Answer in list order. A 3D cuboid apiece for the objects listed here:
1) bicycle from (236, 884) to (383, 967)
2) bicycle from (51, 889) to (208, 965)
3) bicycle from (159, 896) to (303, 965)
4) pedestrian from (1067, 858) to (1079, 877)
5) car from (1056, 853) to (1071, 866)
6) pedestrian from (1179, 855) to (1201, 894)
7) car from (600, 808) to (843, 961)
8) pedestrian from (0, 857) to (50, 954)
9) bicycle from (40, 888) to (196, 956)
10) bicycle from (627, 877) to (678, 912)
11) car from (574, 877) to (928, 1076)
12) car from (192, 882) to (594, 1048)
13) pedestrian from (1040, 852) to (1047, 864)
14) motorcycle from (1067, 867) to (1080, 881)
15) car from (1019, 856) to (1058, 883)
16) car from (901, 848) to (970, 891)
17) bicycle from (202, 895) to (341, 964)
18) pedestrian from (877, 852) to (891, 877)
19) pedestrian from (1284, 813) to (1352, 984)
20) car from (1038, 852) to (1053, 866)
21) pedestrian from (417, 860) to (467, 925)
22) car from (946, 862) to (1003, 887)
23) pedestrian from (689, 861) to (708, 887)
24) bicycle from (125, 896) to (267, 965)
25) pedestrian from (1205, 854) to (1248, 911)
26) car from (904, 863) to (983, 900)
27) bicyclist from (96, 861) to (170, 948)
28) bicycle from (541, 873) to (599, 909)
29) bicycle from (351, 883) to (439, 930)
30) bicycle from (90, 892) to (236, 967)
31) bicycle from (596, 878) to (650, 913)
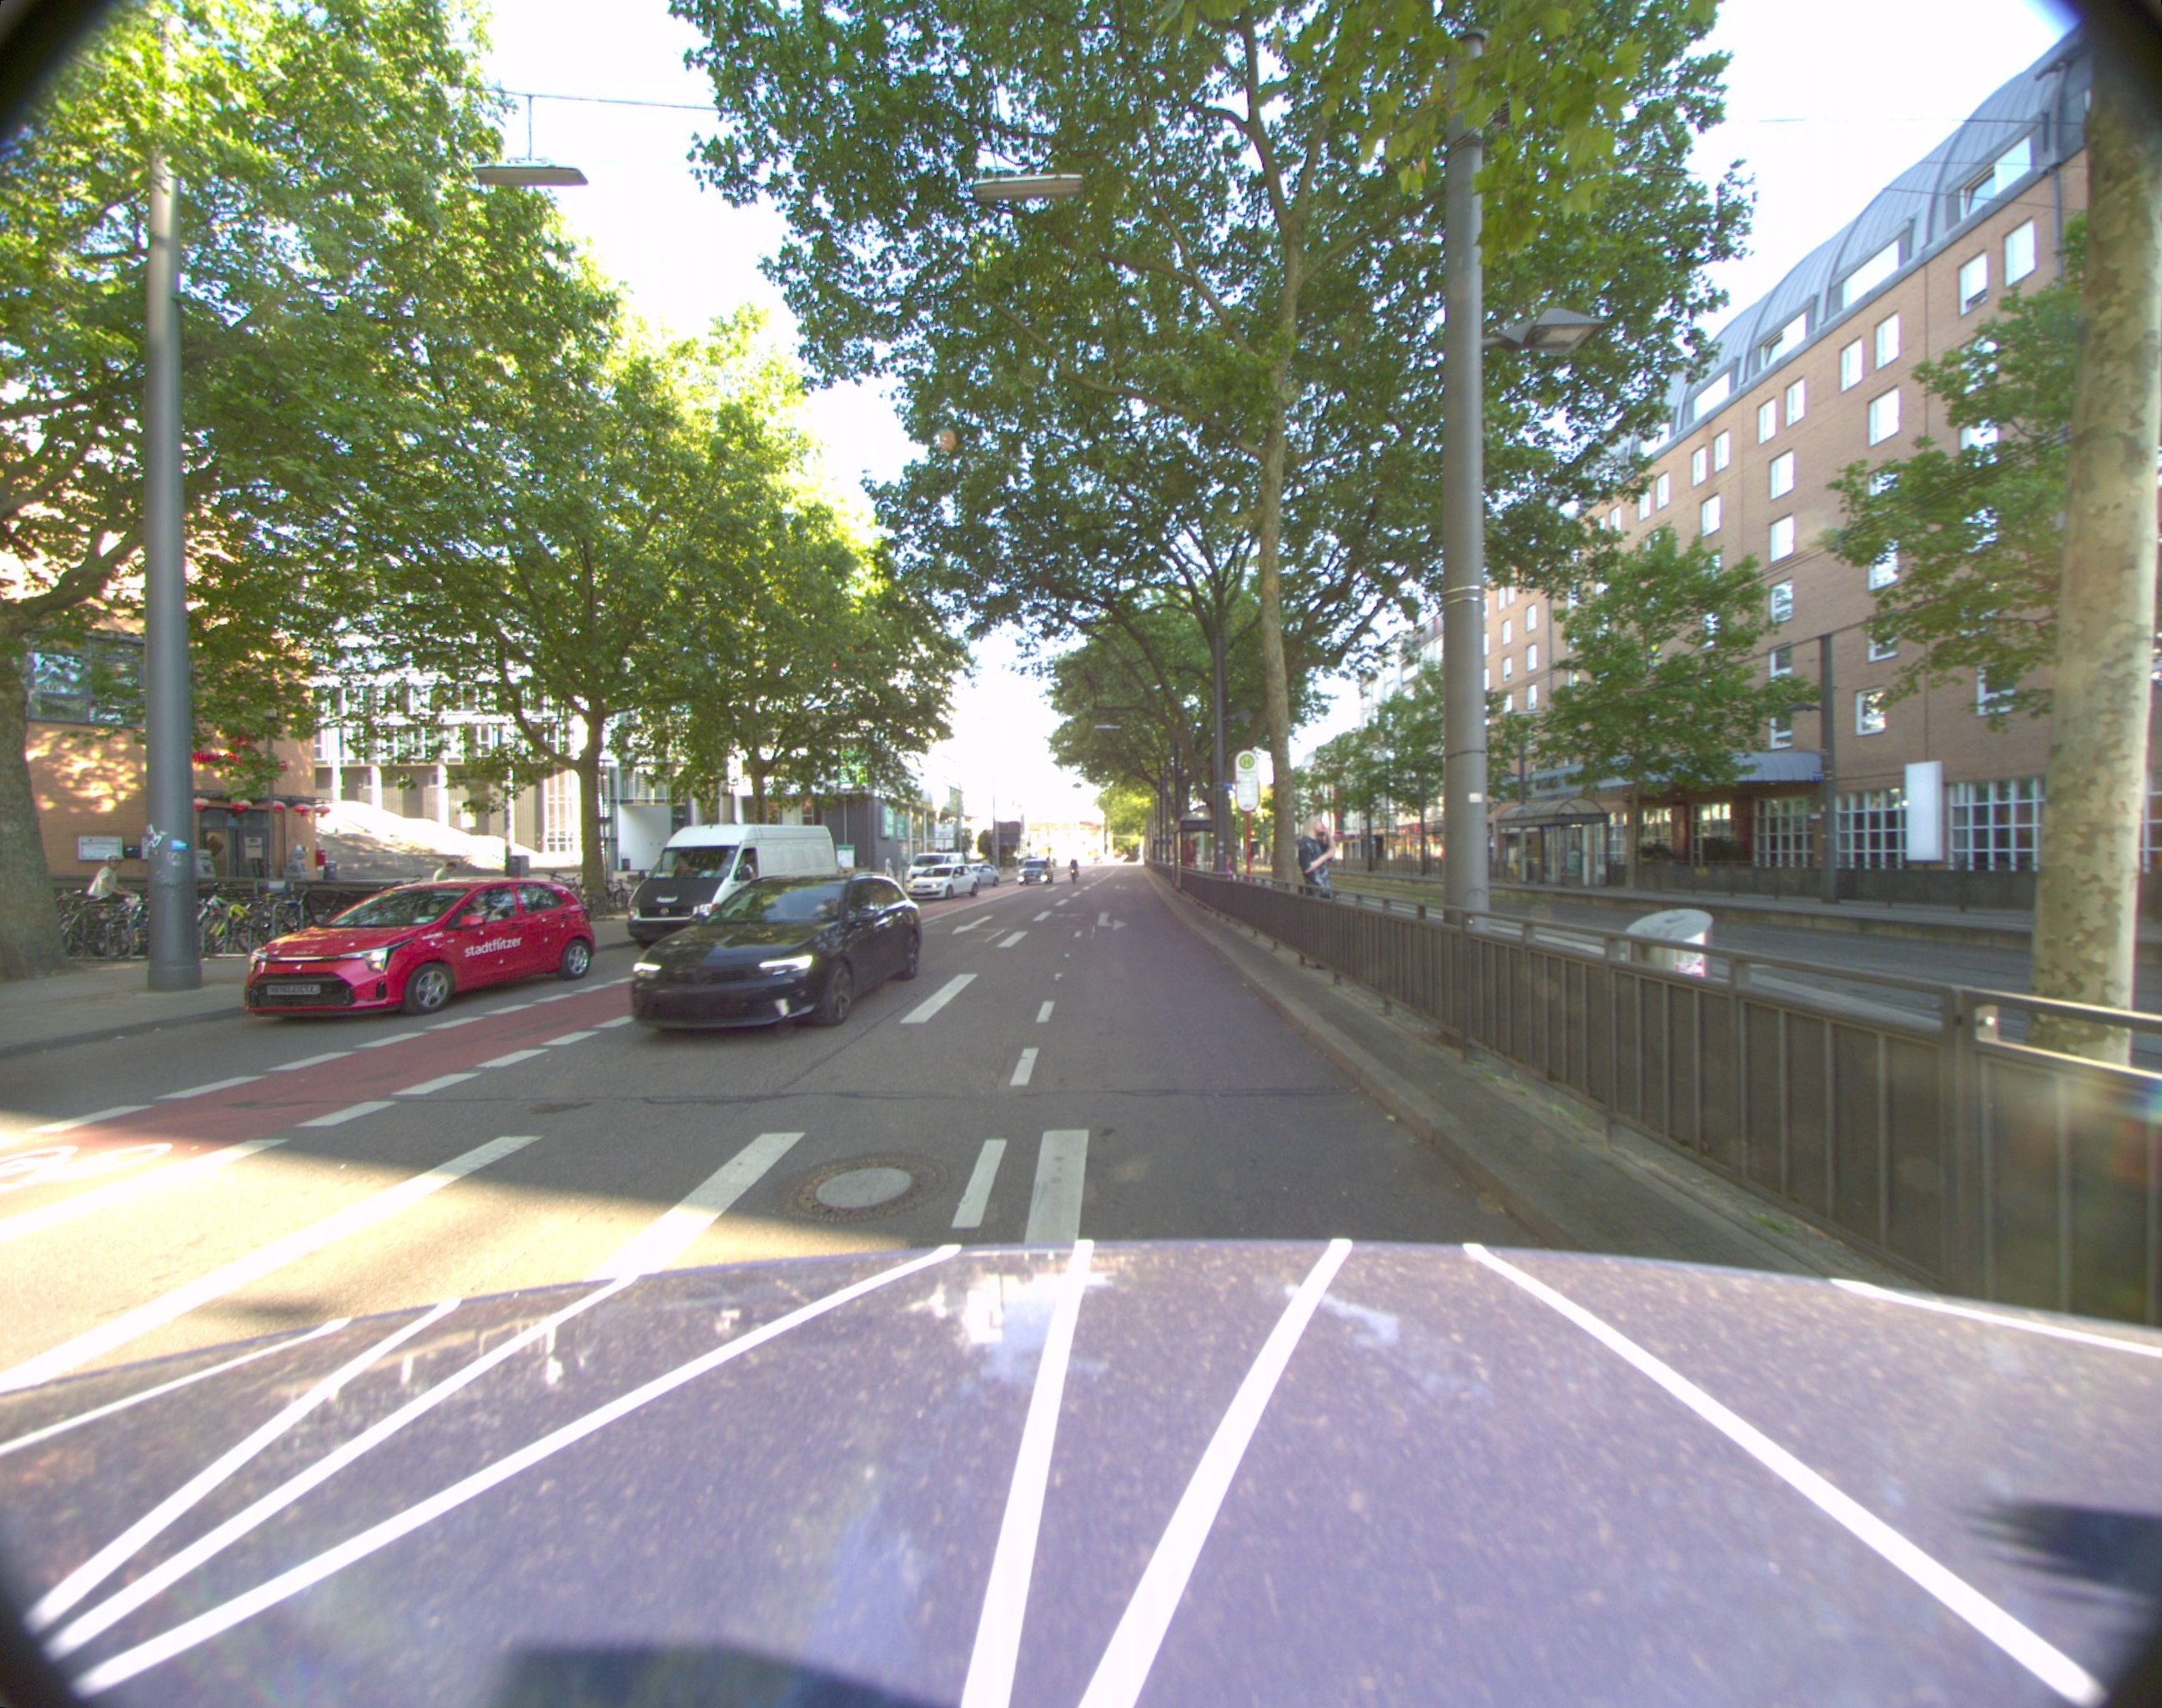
[{"bbox_3d":[-13.263,1.186,13.152,0.597,1.257,1.876,0,0,1],"label":"bicycle"},{"bbox_3d":[-16.424,1.225,13.181,0.479,1.153,1.694,0,0,5],"label":"bicycle"},{"bbox_3d":[-14.662,1.293,13.178,0.597,1.026,1.655,0,0,1],"label":"bicycle"},{"bbox_3d":[-0.496,0.838,47.588,0.665,1.218,0.775,0,1,4],"label":"pedestrian"},{"bbox_3d":[-2.485,0.759,111.011,1.998,1.681,3.999,-2,1,1],"label":"car"},{"bbox_3d":[3.996,0.743,27.833,0.735,1.379,0.640,-2,1,6],"label":"pedestrian"},{"bbox_3d":[-7.564,0.543,17.089,1.998,2.708,6.562,-2,0,2],"label":"car"},{"bbox_3d":[-19.973,0.941,13.902,0.788,1.747,1.020,0,1,6],"label":"pedestrian"},{"bbox_3d":[-18.269,1.260,14.456,0.566,1.119,1.782,0,1,34],"label":"bicycle"},{"bbox_3d":[-13.830,1.291,24.594,0.597,1.041,1.655,0,0,4],"label":"bicycle"},{"bbox_3d":[-3.130,1.069,8.368,1.827,1.416,4.346,-2,0,2],"label":"car"},{"bbox_3d":[-7.953,1.166,9.316,1.562,1.455,3.621,-2,0,1],"label":"car"},{"bbox_3d":[-4.764,0.539,96.782,0.753,1.565,0.912,-1,1,6],"label":"pedestrian"},{"bbox_3d":[-0.463,1.255,47.901,0.667,0.843,2.223,0,0,4],"label":"motorcycle"},{"bbox_3d":[-2.670,0.974,48.763,1.785,1.628,4.023,0,0,7],"label":"car"},{"bbox_3d":[-7.598,0.767,40.321,2.127,2.121,5.292,0,0,6],"label":"car"},{"bbox_3d":[-13.946,1.267,13.158,0.597,1.026,1.655,0,0,1],"label":"bicycle"},{"bbox_3d":[-13.112,0.718,50.550,0.721,1.666,0.541,0,1,22],"label":"pedestrian"},{"bbox_3d":[2.745,0.497,8.853,0.511,1.889,0.760,-2,1,2],"label":"pedestrian"},{"bbox_3d":[-5.177,0.737,110.596,1.999,1.856,3.999,-2,1,-1],"label":"car"},{"bbox_3d":[-16.303,0.974,19.390,0.718,1.622,0.636,0,1,7],"label":"pedestrian"},{"bbox_3d":[-6.458,1.232,46.494,1.783,1.411,4.027,0,0,20],"label":"car"},{"bbox_3d":[-21.426,1.109,42.593,0.712,1.447,0.601,0,1,4],"label":"pedestrian"},{"bbox_3d":[-15.311,1.291,13.211,0.503,1.026,1.655,0,0,1],"label":"bicycle"},{"bbox_3d":[3.764,0.726,19.676,0.979,1.392,0.664,-2,1,6],"label":"pedestrian"},{"bbox_3d":[-5.829,1.137,32.687,1.669,1.455,3.874,0,0,18],"label":"car"},{"bbox_3d":[-18.181,0.934,14.582,0.562,1.607,0.823,0,1,34],"label":"bicyclist"},{"bbox_3d":[-16.118,1.154,24.008,0.597,1.041,1.655,0,0,4],"label":"bicycle"},{"bbox_3d":[-17.742,1.334,19.694,0.596,1.119,1.656,0,0,9],"label":"bicycle"},{"bbox_3d":[-15.886,1.280,13.214,0.503,1.130,1.655,0,0,1],"label":"bicycle"},{"bbox_3d":[-14.646,1.306,24.338,0.597,1.041,1.655,0,0,4],"label":"bicycle"}]
